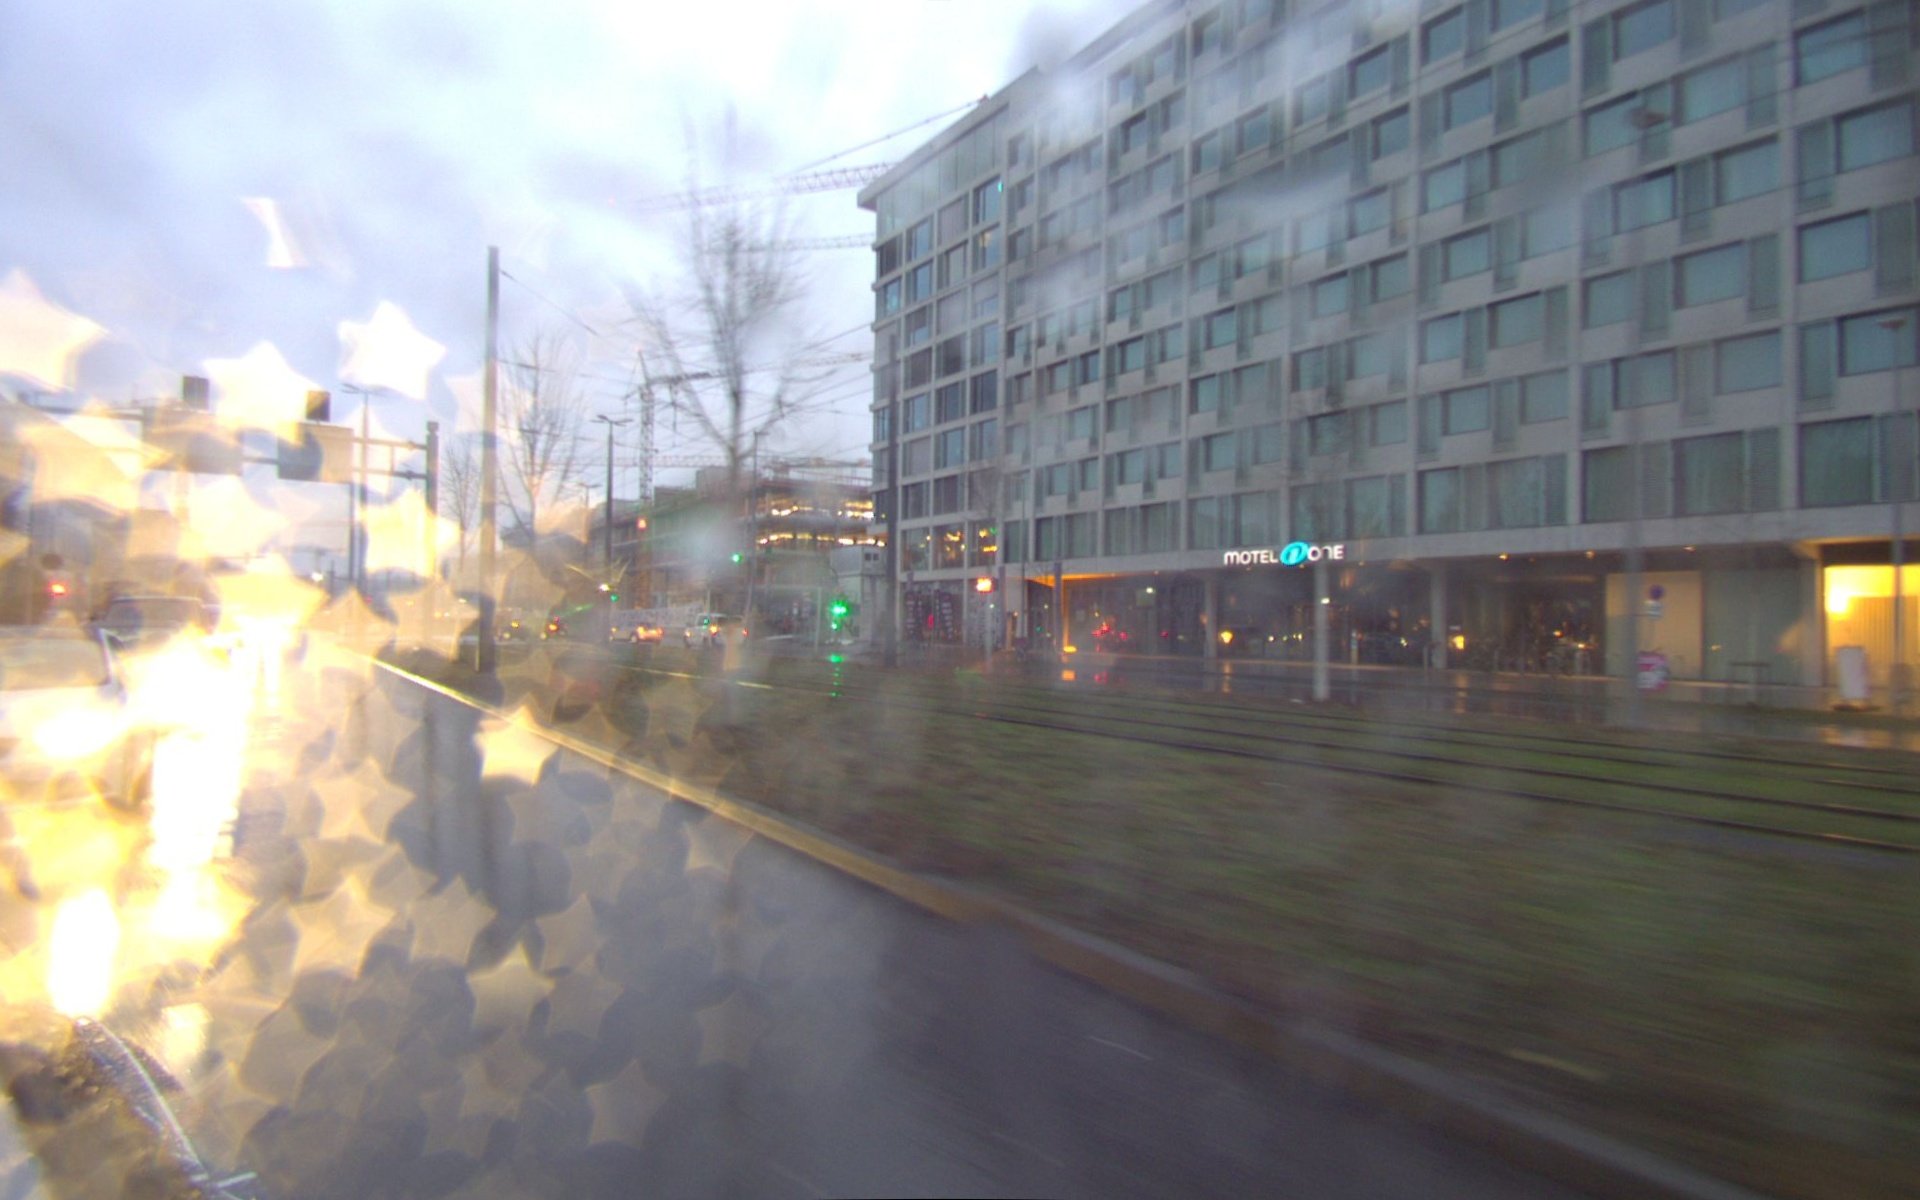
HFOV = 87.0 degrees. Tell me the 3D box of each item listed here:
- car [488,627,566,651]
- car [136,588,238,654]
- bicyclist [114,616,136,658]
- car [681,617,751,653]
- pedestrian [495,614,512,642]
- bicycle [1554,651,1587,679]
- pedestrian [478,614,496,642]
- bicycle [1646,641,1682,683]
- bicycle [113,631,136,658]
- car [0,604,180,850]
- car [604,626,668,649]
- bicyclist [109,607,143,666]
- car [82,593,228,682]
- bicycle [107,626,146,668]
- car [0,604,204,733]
[{"bbox_3d":[-26.588,2.377,62.355,4.185,1.411,2.118,1,-2,-17],"label":"car"},{"bbox_3d":[-20.872,0.551,27.475,1.967,1.639,4.279,-1,0,-34],"label":"car"},{"bbox_3d":[-34.620,1.526,41.970,0.681,1.697,0.594,-1,0,-38],"label":"bicyclist"},{"bbox_3d":[-12.265,1.723,50.631,2.052,1.682,5.059,2,-2,-30],"label":"car"},{"bbox_3d":[-29.563,1.803,65.584,0.761,1.818,0.708,-1,0,8],"label":"pedestrian"},{"bbox_3d":[20.576,2.193,34.111,1.328,0.860,0.466,-1,0,-36],"label":"bicycle"},{"bbox_3d":[-30.539,1.801,65.378,0.761,1.818,0.709,-1,0,7],"label":"pedestrian"},{"bbox_3d":[22.430,1.960,32.248,1.515,1.247,0.466,-1,0,-36],"label":"bicycle"},{"bbox_3d":[-34.579,1.847,41.899,0.681,1.050,1.725,-1,0,-37],"label":"bicycle"},{"bbox_3d":[-7.558,0.839,8.034,1.856,1.573,4.182,2,-2,-34],"label":"car"},{"bbox_3d":[-19.151,2.205,59.791,3.998,1.317,1.792,-1,-2,41],"label":"car"},{"bbox_3d":[-32.004,1.387,38.845,0.952,2.239,0.937,-1,0,-37],"label":"bicyclist"},{"bbox_3d":[-16.727,0.714,21.247,2.040,1.639,4.279,-1,0,-34],"label":"car"},{"bbox_3d":[-31.920,1.755,38.777,0.952,1.462,3.397,-1,0,-36],"label":"bicycle"},{"bbox_3d":[-12.782,0.905,15.360,2.041,1.639,4.278,-1,0,-36],"label":"car"}]
